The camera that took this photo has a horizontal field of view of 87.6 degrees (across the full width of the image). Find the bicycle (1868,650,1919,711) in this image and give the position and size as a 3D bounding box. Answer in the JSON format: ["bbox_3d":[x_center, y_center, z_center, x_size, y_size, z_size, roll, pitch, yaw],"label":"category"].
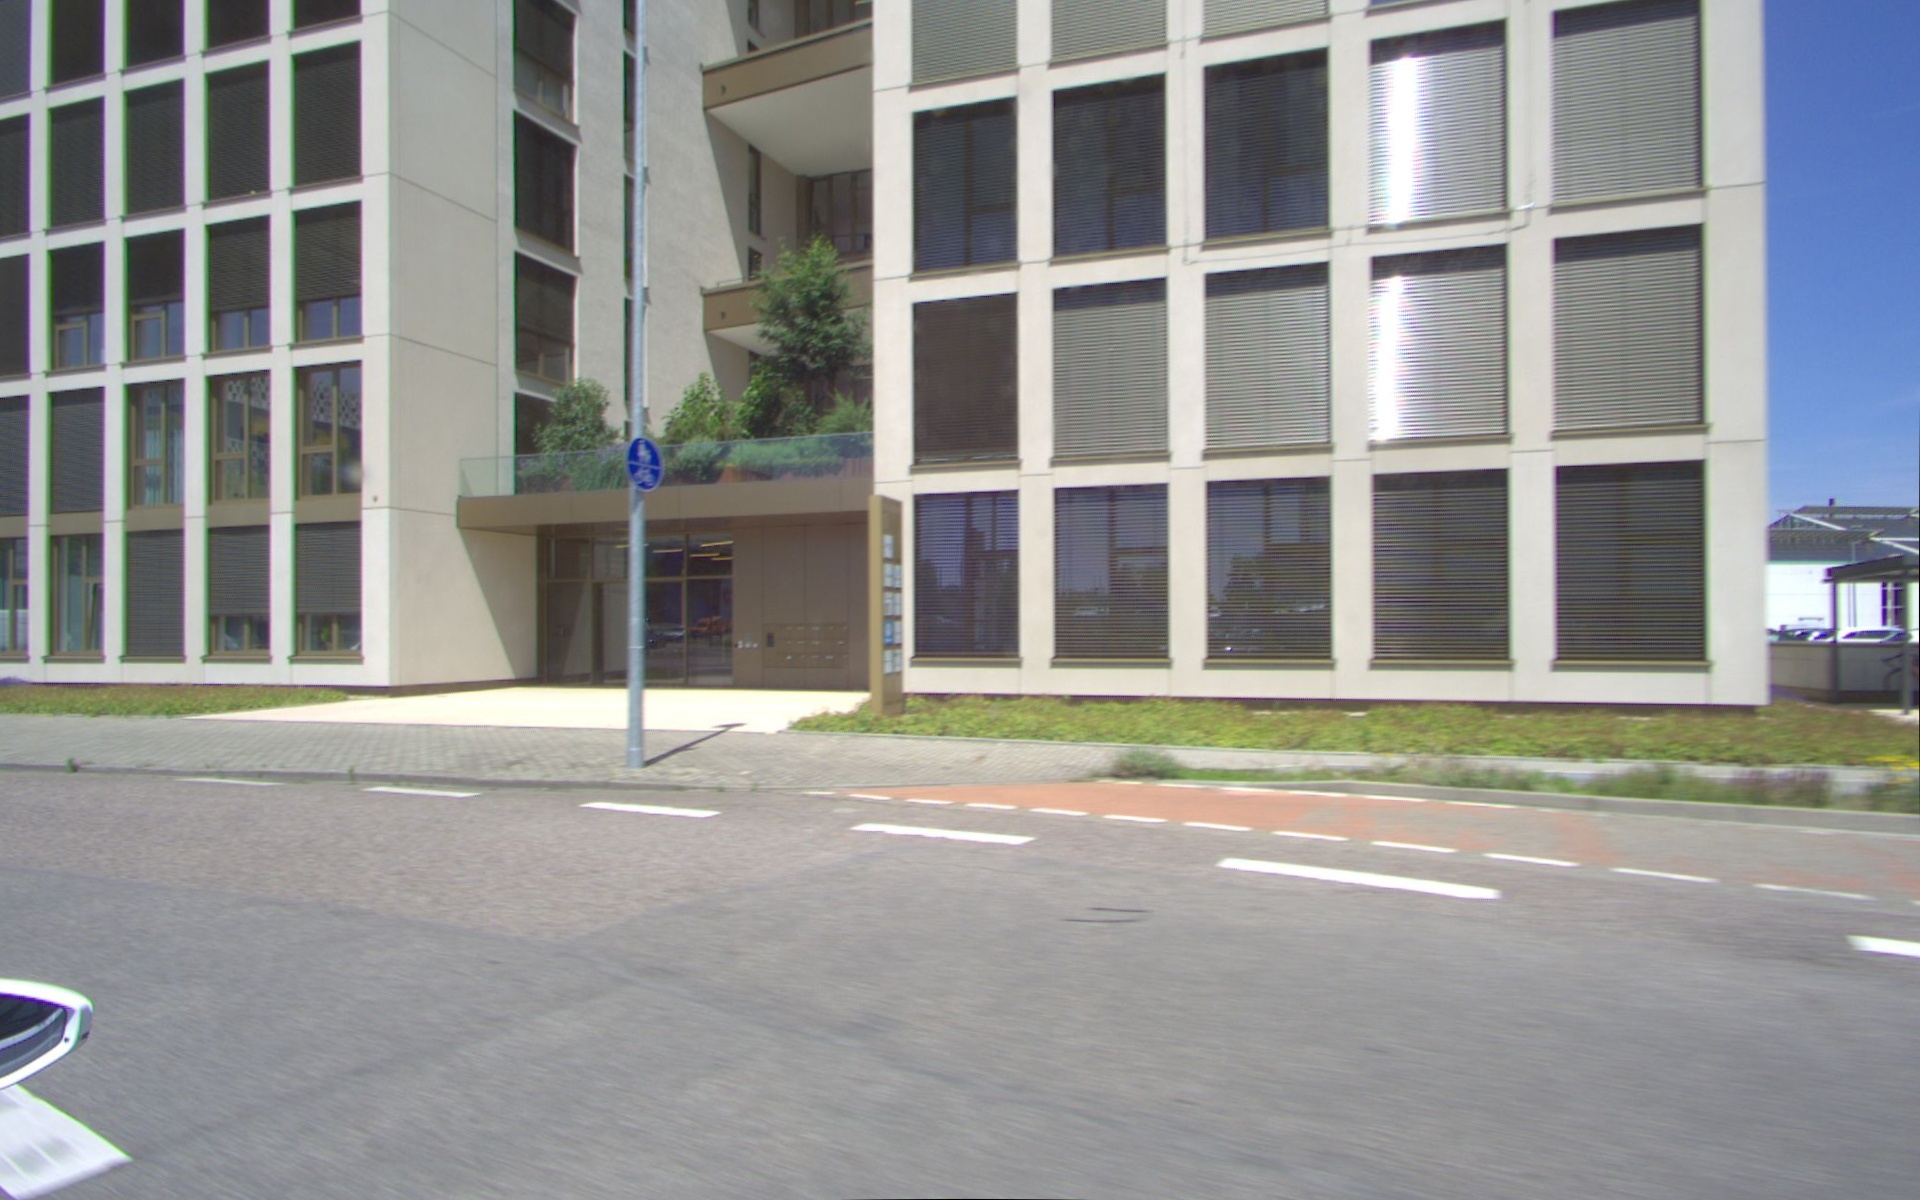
[{"bbox_3d":[16.852,1.396,17.391,0.721,1.015,1.839,-1,-1,10],"label":"bicycle"}]

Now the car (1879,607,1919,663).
[{"bbox_3d":[35.198,1.212,35.107,3.936,1.935,1.993,-1,-1,26],"label":"car"}]

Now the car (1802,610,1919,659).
[{"bbox_3d":[36.478,1.363,40.009,3.936,1.875,1.993,-1,-1,26],"label":"car"}]

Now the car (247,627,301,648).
[{"bbox_3d":[-58.320,3.173,85.155,3.927,1.809,1.737,0,-1,16],"label":"car"}]

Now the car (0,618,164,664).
[{"bbox_3d":[-36.212,1.668,41.468,4.831,1.839,1.698,0,-1,-26],"label":"car"}]
